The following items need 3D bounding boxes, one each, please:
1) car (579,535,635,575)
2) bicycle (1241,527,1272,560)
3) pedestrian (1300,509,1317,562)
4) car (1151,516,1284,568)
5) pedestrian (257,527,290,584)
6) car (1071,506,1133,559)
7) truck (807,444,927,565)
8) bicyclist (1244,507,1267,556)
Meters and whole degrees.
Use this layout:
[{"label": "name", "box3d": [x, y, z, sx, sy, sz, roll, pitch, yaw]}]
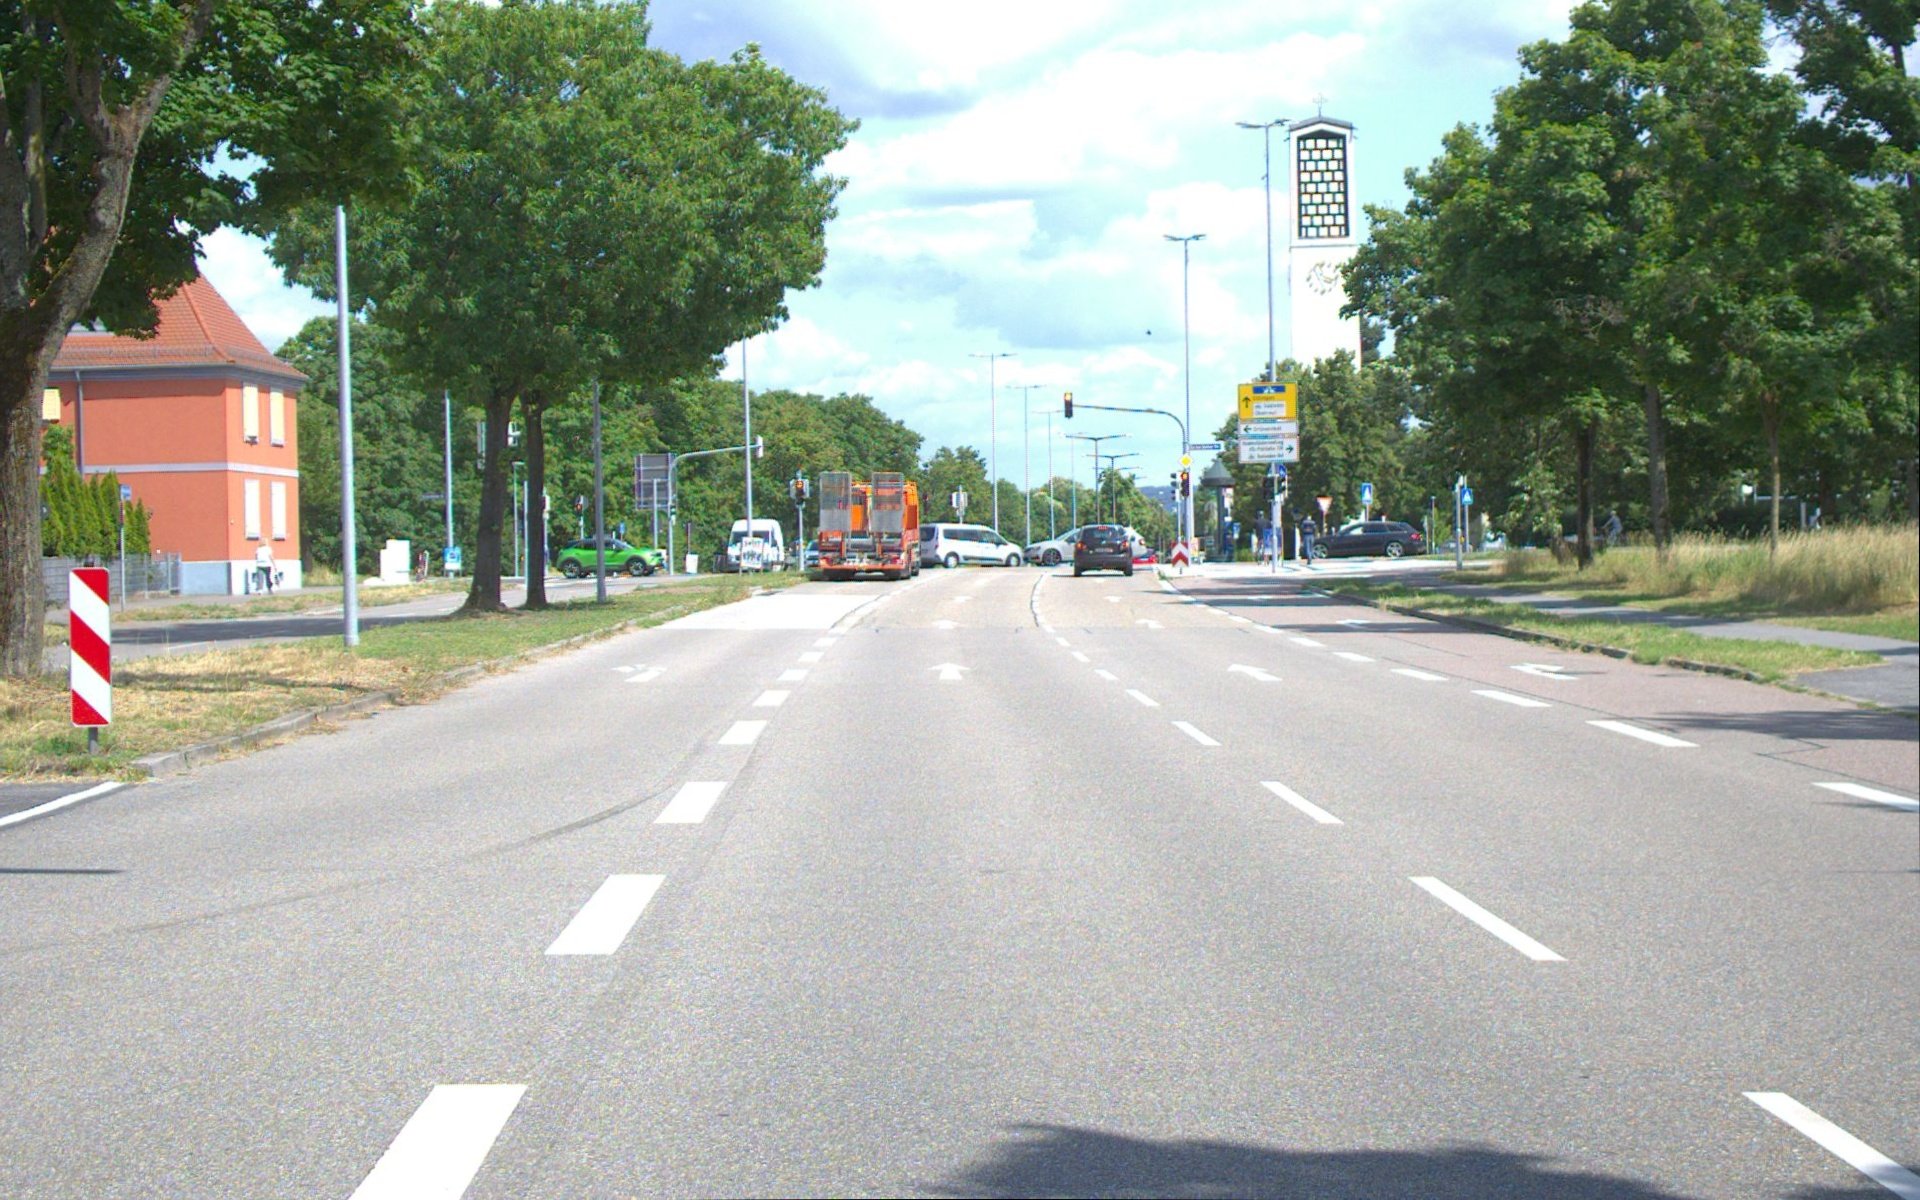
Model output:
[{"label": "car", "box3d": [-13.624, -1.713, 132.739, 1.636, 1.480, 3.992, 1, 0, 1]}, {"label": "bicycle", "box3d": [10.164, -1.939, 117.809, 0.648, 1.104, 1.926, 1, 0, 17]}, {"label": "pedestrian", "box3d": [11.716, -2.160, 115.550, 0.465, 1.772, 0.482, 1, 0, 13]}, {"label": "car", "box3d": [7.561, -1.695, 100.934, 3.571, 1.437, 1.476, 1, 0, -16]}, {"label": "pedestrian", "box3d": [-19.233, -1.243, 96.346, 0.696, 1.578, 0.851, 1, 0, 1]}, {"label": "car", "box3d": [4.351, -2.058, 105.705, 1.799, 1.547, 4.000, 1, 0, 1]}, {"label": "truck", "box3d": [-2.745, -2.814, 105.136, 3.071, 3.402, 11.068, 1, 0, 1]}, {"label": "bicyclist", "box3d": [10.116, -2.348, 117.620, 0.648, 1.655, 0.649, 1, 0, 17]}]
